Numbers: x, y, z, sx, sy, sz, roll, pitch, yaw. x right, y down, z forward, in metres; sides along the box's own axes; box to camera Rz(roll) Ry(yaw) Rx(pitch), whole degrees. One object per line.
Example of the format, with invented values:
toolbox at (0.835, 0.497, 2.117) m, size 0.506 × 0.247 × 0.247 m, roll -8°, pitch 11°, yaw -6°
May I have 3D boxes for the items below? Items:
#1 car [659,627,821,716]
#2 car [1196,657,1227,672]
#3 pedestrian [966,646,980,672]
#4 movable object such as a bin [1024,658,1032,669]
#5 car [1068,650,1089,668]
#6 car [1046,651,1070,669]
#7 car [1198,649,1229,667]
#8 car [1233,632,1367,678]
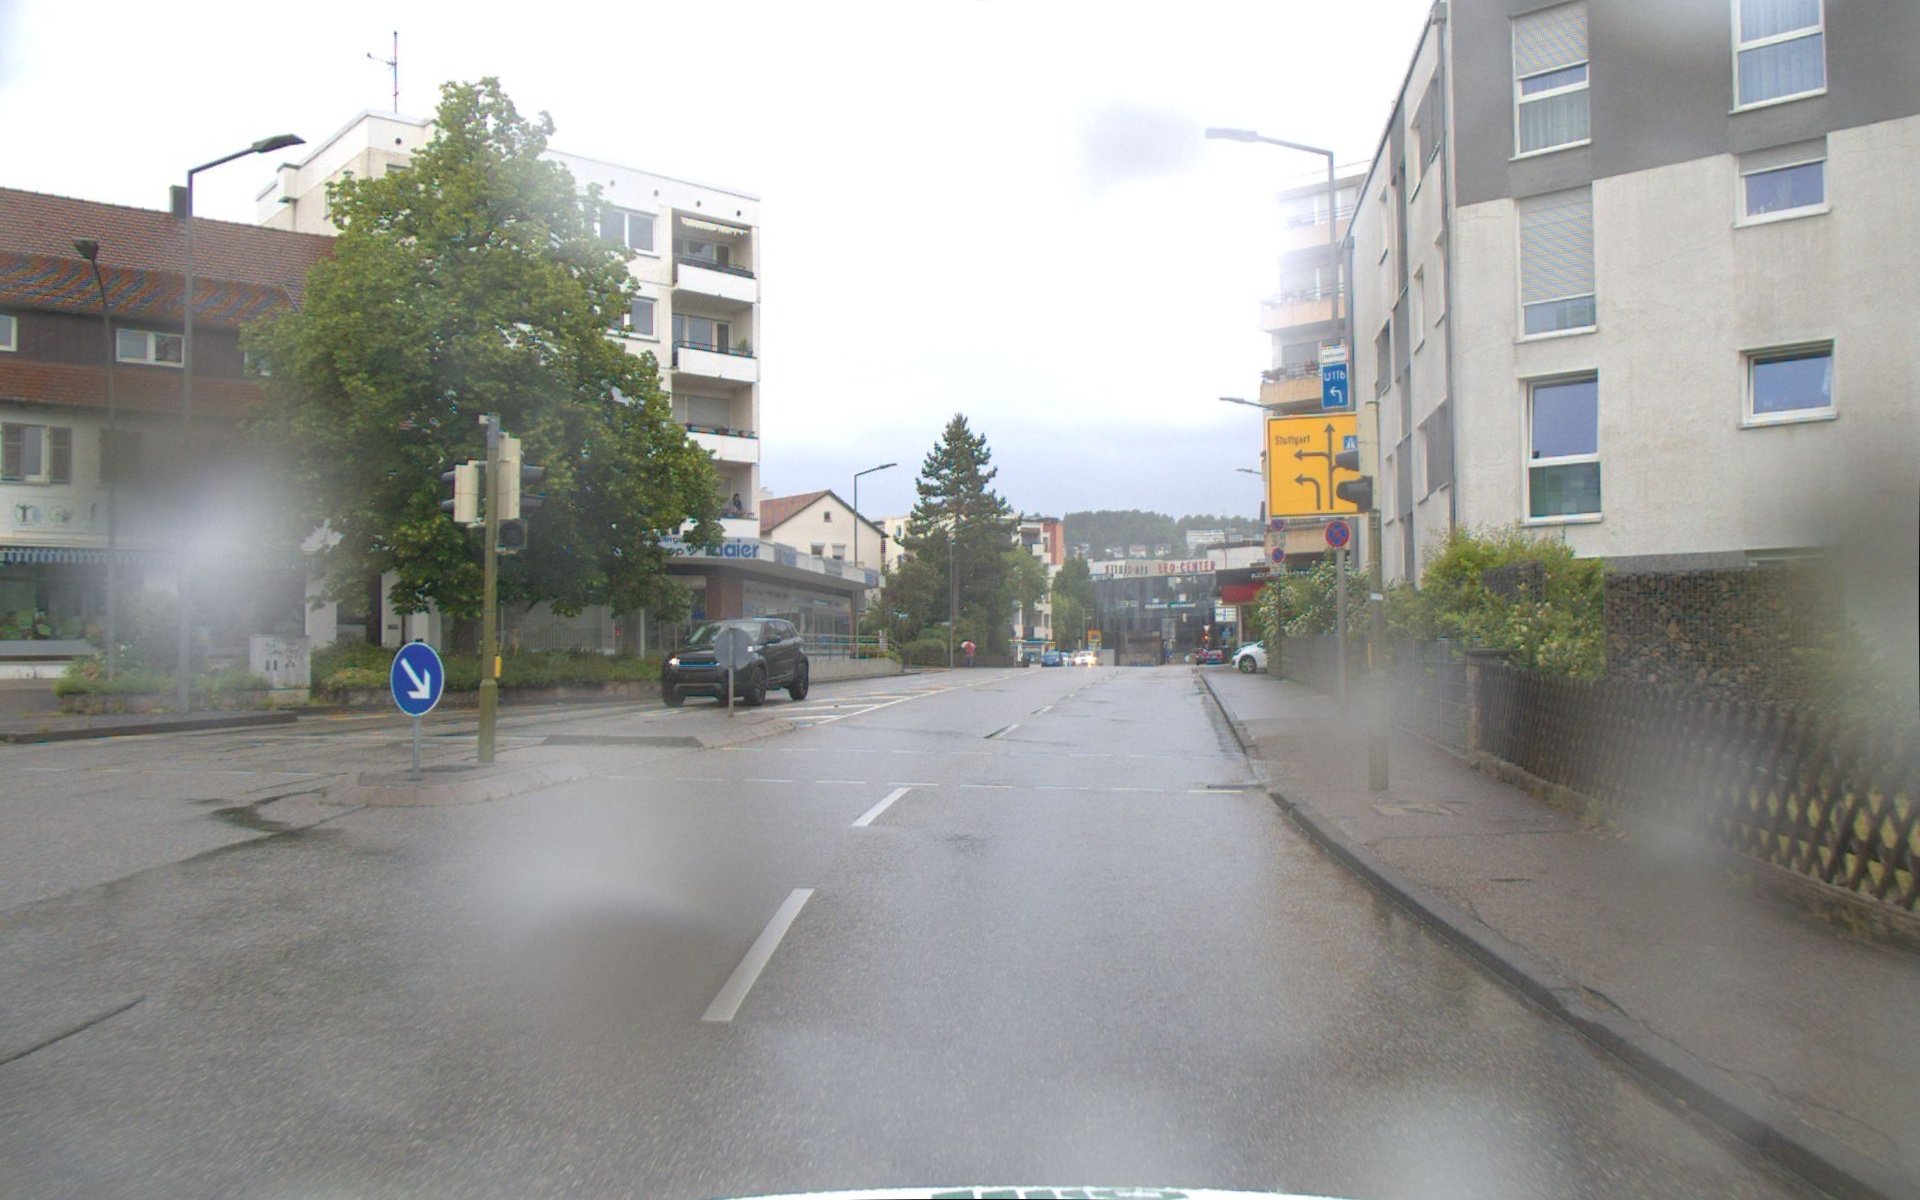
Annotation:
car at (-4.148, 1.319, 31.882) m, size 1.764 × 1.584 × 4.322 m, roll -1°, pitch -1°, yaw 12°
car at (26.027, 6.660, 170.798) m, size 1.771 × 1.444 × 3.991 m, roll -2°, pitch -3°, yaw 31°
pedestrian at (0.814, 3.750, 104.949) m, size 0.851 × 1.635 × 1.103 m, roll -1°, pitch -3°, yaw 1°
movable object such as a bin at (5.982, 5.567, 145.588) m, size 0.634 × 0.983 × 0.683 m, roll -2°, pitch -3°, yaw 10°
car at (10.696, 5.292, 149.057) m, size 1.662 × 1.433 × 4.002 m, roll -4°, pitch -1°, yaw 6°
car at (8.895, 5.449, 149.669) m, size 1.616 × 1.548 × 4.327 m, roll -1°, pitch -2°, yaw 11°
car at (23.233, 5.329, 151.427) m, size 1.952 × 1.561 × 4.647 m, roll -1°, pitch -4°, yaw 20°
car at (11.778, 1.888, 57.401) m, size 4.186 × 1.520 × 1.865 m, roll -1°, pitch 0°, yaw 37°
